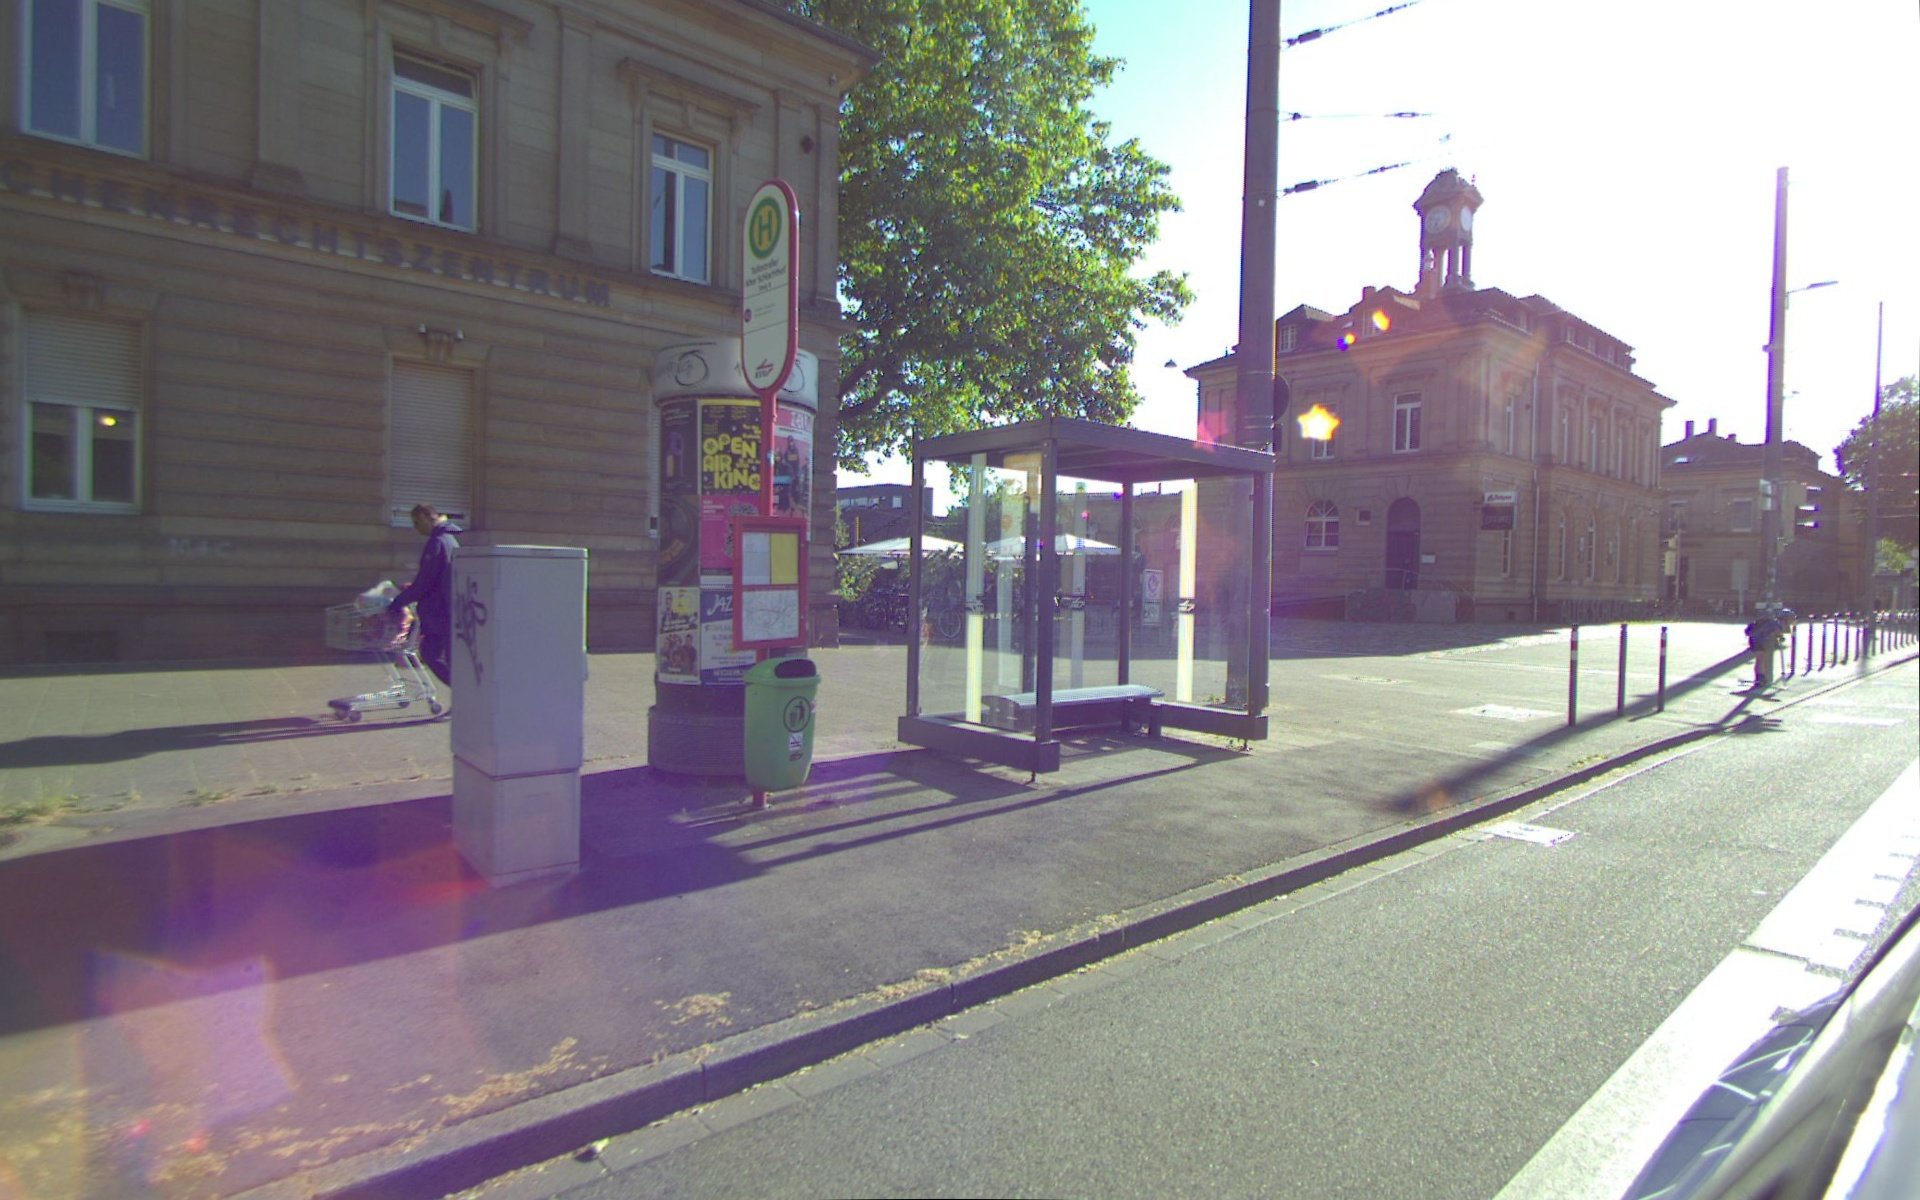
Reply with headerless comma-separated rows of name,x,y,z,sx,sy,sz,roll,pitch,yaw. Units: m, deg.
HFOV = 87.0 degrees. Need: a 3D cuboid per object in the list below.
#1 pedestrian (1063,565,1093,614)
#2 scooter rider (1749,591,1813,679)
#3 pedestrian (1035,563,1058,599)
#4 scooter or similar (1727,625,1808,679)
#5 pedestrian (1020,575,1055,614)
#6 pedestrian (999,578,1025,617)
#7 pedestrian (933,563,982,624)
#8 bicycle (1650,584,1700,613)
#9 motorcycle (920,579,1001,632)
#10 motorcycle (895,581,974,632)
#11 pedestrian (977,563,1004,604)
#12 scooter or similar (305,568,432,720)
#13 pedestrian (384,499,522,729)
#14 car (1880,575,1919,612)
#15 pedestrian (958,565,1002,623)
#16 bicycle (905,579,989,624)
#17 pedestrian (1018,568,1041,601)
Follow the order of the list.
pedestrian,4.403,-0.395,37.813,1.021,1.766,0.996,1,2,11
scooter rider,13.786,0.573,16.998,0.589,1.414,0.703,0,1,-40
pedestrian,4.351,-0.961,50.878,0.653,1.765,0.838,0,3,-44
scooter or similar,13.609,0.861,17.075,0.260,0.821,1.023,0,2,-40
pedestrian,2.871,-0.219,37.525,0.978,1.396,0.775,1,3,-28
pedestrian,1.914,-0.087,37.038,0.641,1.394,0.674,0,-5,-31
pedestrian,-0.074,-0.214,30.571,0.994,1.765,1.023,4,3,38
bicycle,31.726,-0.071,44.912,0.679,1.195,1.649,0,3,-42
motorcycle,-0.016,0.101,24.062,0.869,1.174,2.228,0,1,-33
motorcycle,-0.612,0.122,23.377,0.869,1.116,2.085,0,1,-33
pedestrian,1.355,-0.740,44.891,0.984,1.765,1.034,3,2,13
scooter or similar,-4.967,0.338,8.493,0.719,1.170,0.748,4,3,44
pedestrian,-4.165,0.084,8.313,0.769,1.765,0.784,4,3,44
car,55.133,-0.406,58.754,3.926,2.072,1.834,-1,1,-37
pedestrian,0.651,-0.218,33.066,0.994,1.810,1.023,4,3,38
bicycle,-0.407,0.017,30.576,2.654,1.294,0.771,1,1,38
pedestrian,3.233,-0.706,47.148,0.653,1.484,0.838,0,3,-43
